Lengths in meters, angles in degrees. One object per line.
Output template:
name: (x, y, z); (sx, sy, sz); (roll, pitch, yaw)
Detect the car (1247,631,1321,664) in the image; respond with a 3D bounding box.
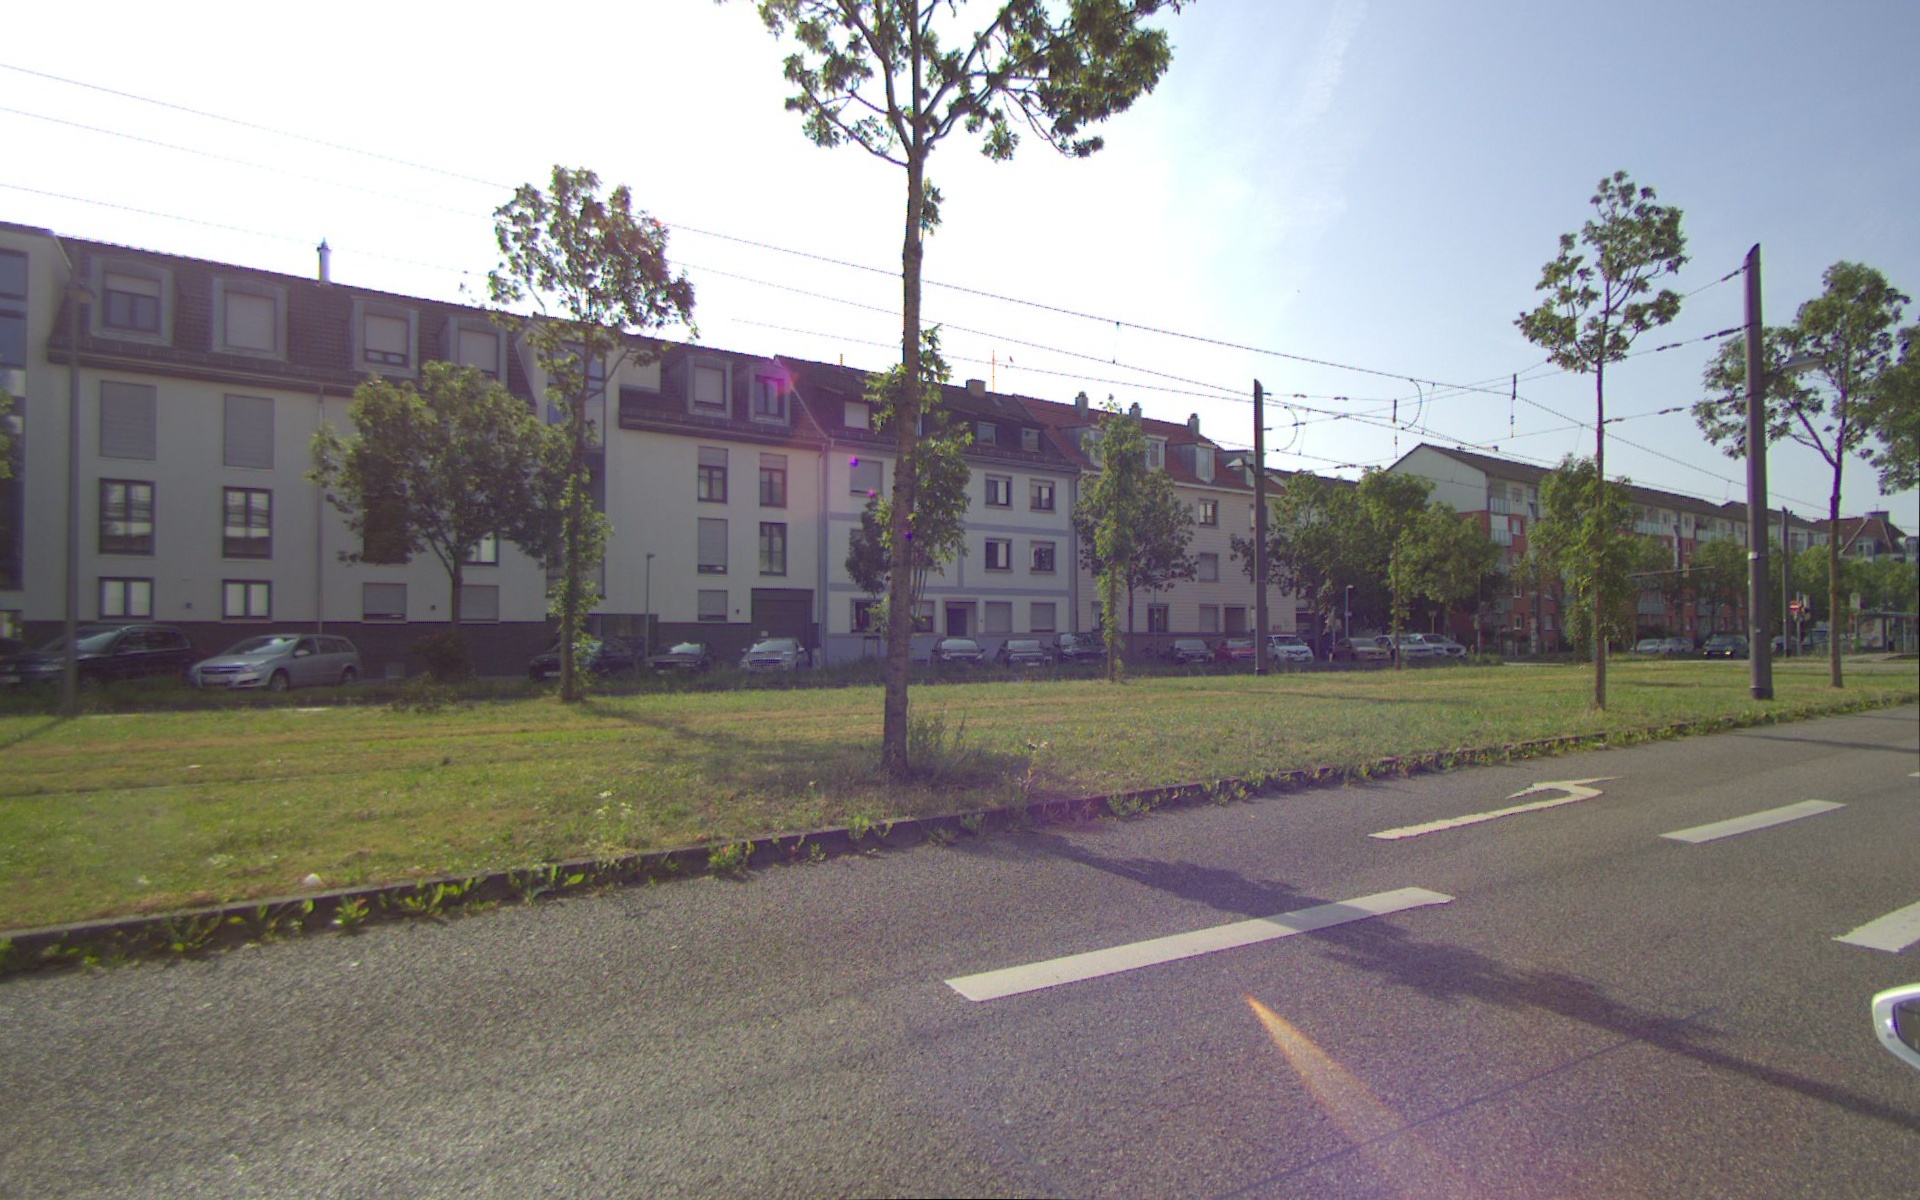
car: (14.863, 2.157, 46.295); (1.851, 1.286, 3.997); (2, -1, -5)

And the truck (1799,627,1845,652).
truck: (94.621, 4.319, 110.244); (7.172, 2.596, 2.349); (2, -2, -37)

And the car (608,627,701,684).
car: (-8.622, 1.528, 28.663); (1.892, 1.394, 3.995); (2, -1, -8)

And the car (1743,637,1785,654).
car: (72.014, 4.081, 89.916); (4.031, 1.378, 1.967); (2, -1, -36)

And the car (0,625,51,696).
car: (-21.056, 1.265, 20.282); (1.746, 1.439, 4.000); (1, -1, 0)

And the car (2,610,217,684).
car: (-18.459, 0.965, 22.033); (1.610, 1.453, 3.721); (1, -1, -2)

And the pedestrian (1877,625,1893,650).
pedestrian: (61.971, 2.538, 67.301); (0.788, 1.675, 0.666); (2, -2, -40)

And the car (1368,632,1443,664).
car: (22.806, 2.413, 51.648); (1.960, 1.534, 4.466); (1, -1, 1)

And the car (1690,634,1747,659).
car: (55.438, 3.412, 73.386); (4.665, 1.728, 1.981); (2, -2, -35)

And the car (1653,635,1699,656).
car: (55.963, 3.538, 78.504); (3.791, 1.490, 1.820); (2, -1, -36)

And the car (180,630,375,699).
car: (-15.915, 1.450, 23.738); (1.700, 1.338, 4.398); (1, -1, -2)

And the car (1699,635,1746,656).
car: (63.994, 3.810, 84.317); (4.494, 1.577, 1.967); (2, -1, -37)

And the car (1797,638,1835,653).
car: (83.997, 4.488, 98.585); (4.031, 1.378, 1.967); (2, -1, -36)

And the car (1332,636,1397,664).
car: (20.400, 2.499, 50.813); (1.960, 1.194, 4.002); (1, -1, 6)

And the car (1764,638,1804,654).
car: (76.295, 4.226, 92.982); (4.031, 1.378, 1.967); (2, -1, -36)

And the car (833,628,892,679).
car: (-3.176, 1.669, 32.098); (1.634, 1.394, 3.775); (2, -1, -9)

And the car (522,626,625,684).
car: (-10.746, 1.496, 28.192); (1.802, 1.394, 3.995); (2, -1, -8)

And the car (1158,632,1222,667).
car: (9.677, 2.070, 42.549); (1.666, 1.251, 3.999); (2, -1, -2)

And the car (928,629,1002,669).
car: (0.109, 1.687, 35.545); (1.964, 1.305, 3.994); (1, -1, -9)

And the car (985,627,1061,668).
car: (2.259, 1.719, 37.139); (1.964, 1.305, 3.993); (2, -1, -9)

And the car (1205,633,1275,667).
car: (12.360, 2.187, 44.535); (1.839, 1.275, 3.999); (2, -1, -2)

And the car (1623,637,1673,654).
car: (51.367, 3.380, 74.962); (4.125, 1.163, 1.820); (2, -1, -36)

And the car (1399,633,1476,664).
car: (25.564, 2.566, 53.986); (1.925, 1.483, 4.352); (2, -1, -2)

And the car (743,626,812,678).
car: (-5.689, 1.597, 31.600); (1.964, 1.394, 4.333); (2, -1, -9)

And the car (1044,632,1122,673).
car: (4.575, 1.949, 38.010); (1.963, 1.305, 4.054); (2, -1, -8)
